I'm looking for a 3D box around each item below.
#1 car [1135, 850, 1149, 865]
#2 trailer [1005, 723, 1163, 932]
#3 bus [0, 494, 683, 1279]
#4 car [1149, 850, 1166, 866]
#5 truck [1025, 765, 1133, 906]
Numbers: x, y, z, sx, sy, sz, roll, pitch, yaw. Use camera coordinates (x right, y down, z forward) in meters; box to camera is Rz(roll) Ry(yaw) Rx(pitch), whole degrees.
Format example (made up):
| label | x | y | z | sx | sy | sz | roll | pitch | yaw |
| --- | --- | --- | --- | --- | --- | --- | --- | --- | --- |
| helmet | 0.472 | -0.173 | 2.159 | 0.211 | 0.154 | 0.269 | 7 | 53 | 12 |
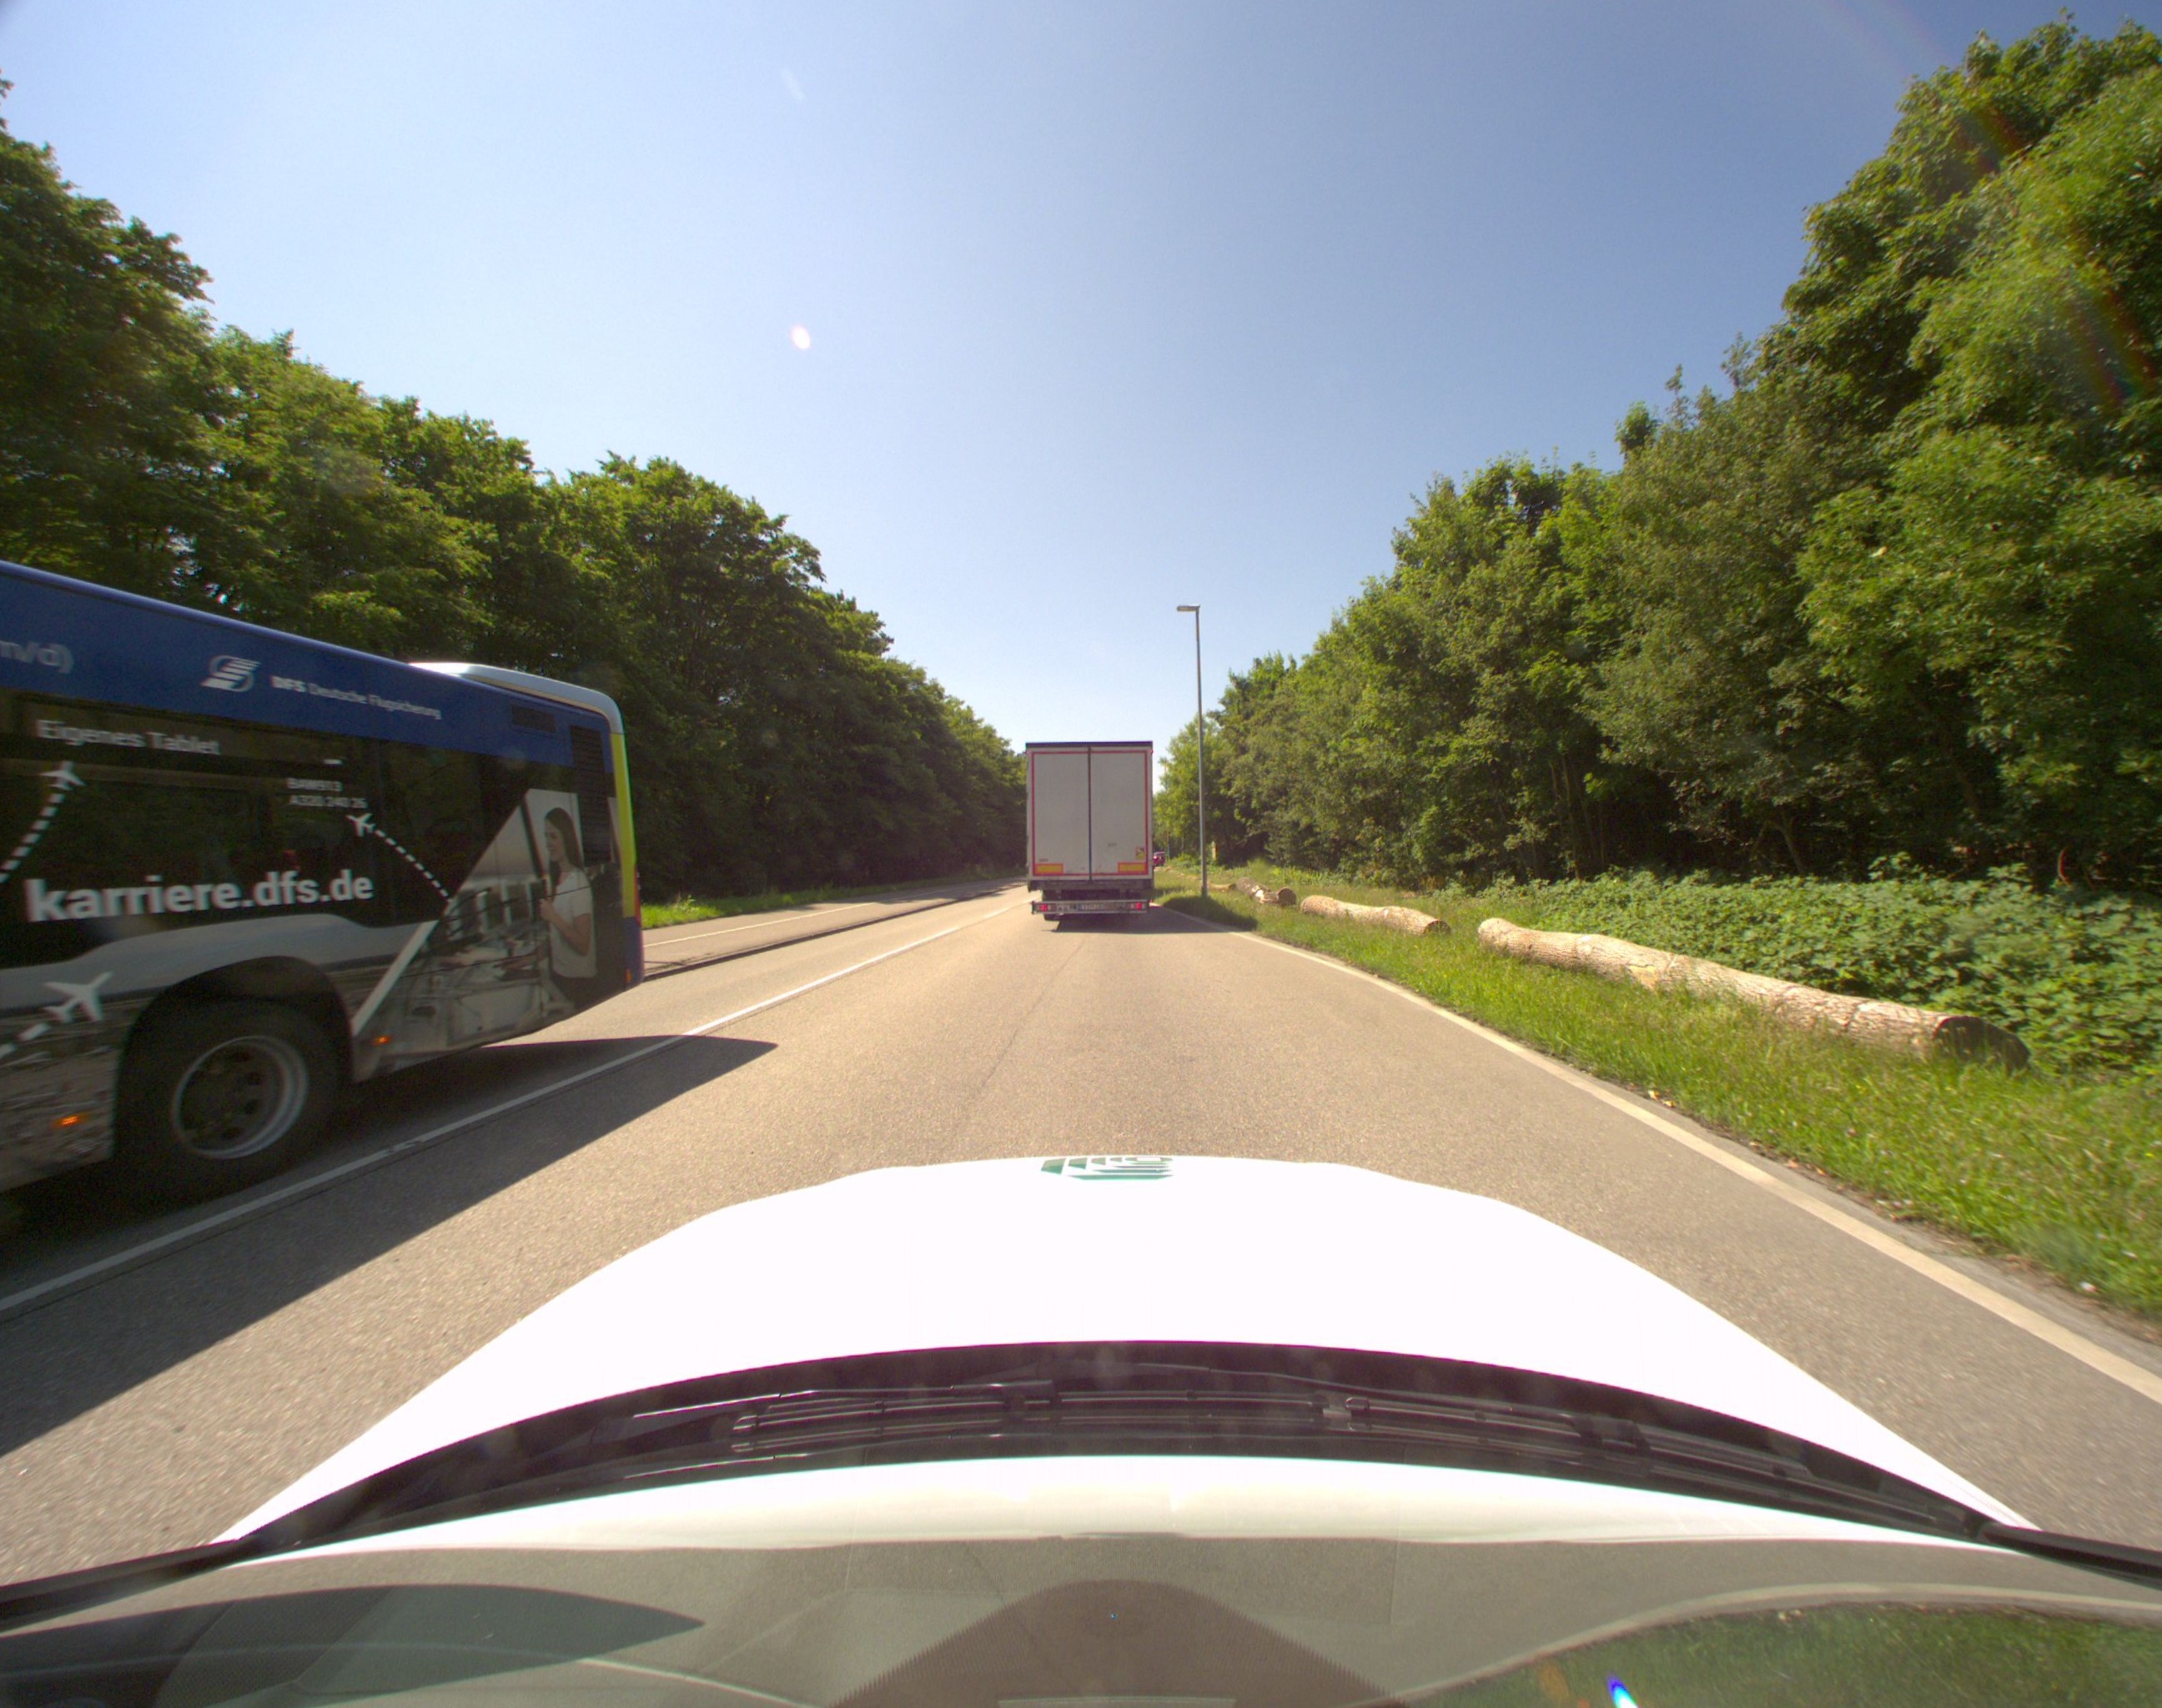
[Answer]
| label | x | y | z | sx | sy | sz | roll | pitch | yaw |
| --- | --- | --- | --- | --- | --- | --- | --- | --- | --- |
| car | 9.000 | 0.485 | 120.293 | 1.984 | 2.013 | 4.005 | -3 | 0 | 4 |
| trailer | -0.001 | -0.537 | 20.940 | 3.068 | 4.069 | 9.804 | -1 | 0 | -1 |
| bus | -5.643 | 0.210 | 1.756 | 2.737 | 3.045 | 11.950 | -6 | 0 | 4 |
| car | 7.814 | 0.398 | 83.562 | 1.703 | 1.530 | 3.855 | -2 | 0 | 4 |
| truck | -0.112 | -0.569 | 28.047 | 3.068 | 4.069 | 7.955 | -2 | 0 | -1 |
